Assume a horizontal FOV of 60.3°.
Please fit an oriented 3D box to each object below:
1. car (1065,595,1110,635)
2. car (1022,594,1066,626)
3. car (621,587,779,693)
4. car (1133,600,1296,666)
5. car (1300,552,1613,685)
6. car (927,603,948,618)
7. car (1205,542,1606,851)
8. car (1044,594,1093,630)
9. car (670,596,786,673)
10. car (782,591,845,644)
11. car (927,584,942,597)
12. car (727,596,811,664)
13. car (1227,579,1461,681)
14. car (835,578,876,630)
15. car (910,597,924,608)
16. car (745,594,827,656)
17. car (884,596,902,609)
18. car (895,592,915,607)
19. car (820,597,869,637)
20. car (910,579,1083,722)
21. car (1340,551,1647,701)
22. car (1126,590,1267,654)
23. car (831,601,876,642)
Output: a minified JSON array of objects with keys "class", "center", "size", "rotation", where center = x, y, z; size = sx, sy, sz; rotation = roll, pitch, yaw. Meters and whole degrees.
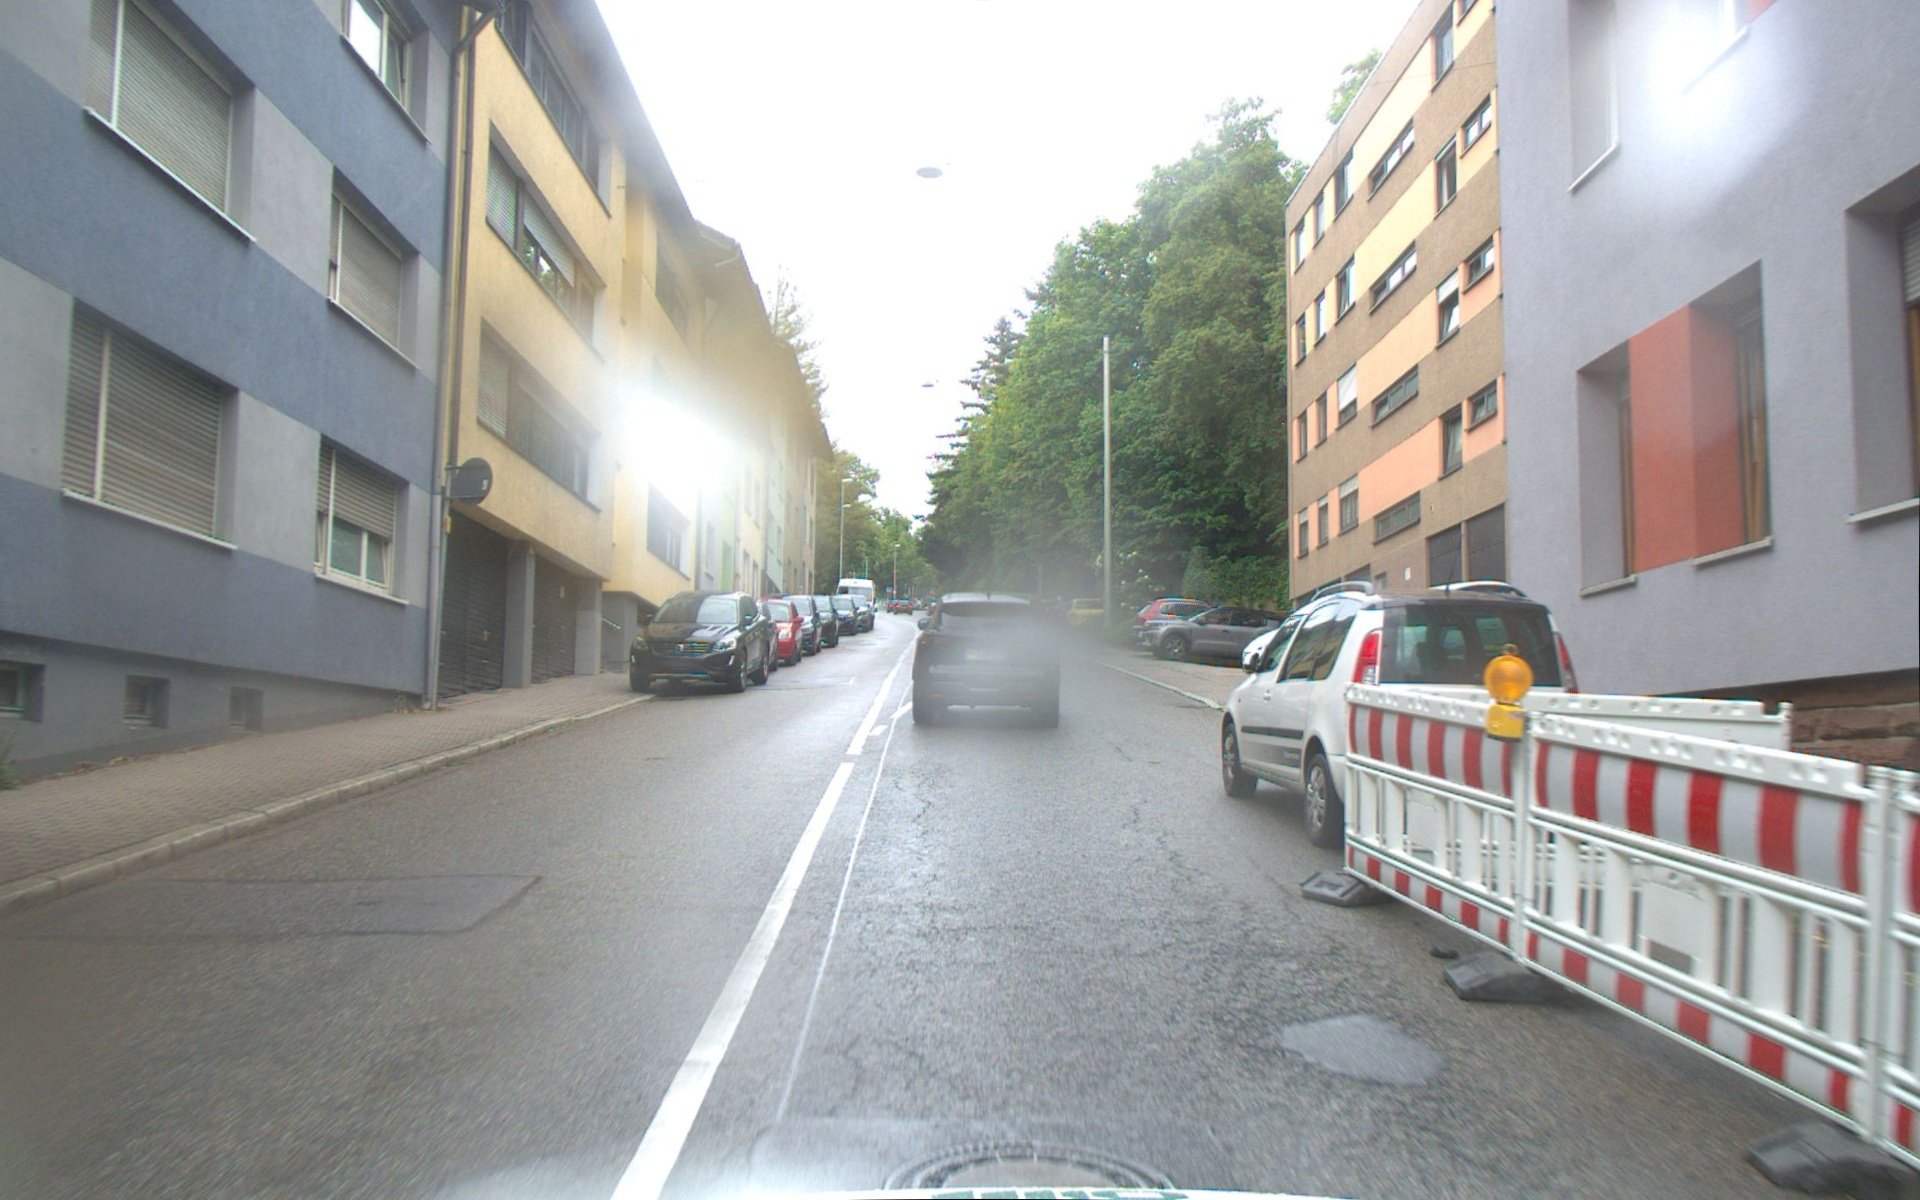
[{"class":"car","center":[5.260,0.612,68.748],"size":[1.599,1.557,4.001],"rotation":[2,0,1]},{"class":"car","center":[4.352,0.521,86.063],"size":[1.775,1.557,4.414],"rotation":[-1,0,-4]},{"class":"car","center":[-4.410,0.625,28.737],"size":[1.952,1.679,4.442],"rotation":[1,0,1]},{"class":"car","center":[6.961,0.894,45.470],"size":[4.115,1.522,1.759],"rotation":[3,0,-4]},{"class":"car","center":[7.762,0.277,26.126],"size":[4.256,1.556,1.876],"rotation":[-6,0,-3]},{"class":"car","center":[-2.431,1.099,176.832],"size":[2.034,1.587,3.996],"rotation":[1,0,-4]},{"class":"car","center":[2.975,0.556,11.916],"size":[1.607,1.793,3.998],"rotation":[2,1,-2]},{"class":"car","center":[4.936,0.526,75.706],"size":[1.774,1.557,4.415],"rotation":[-1,0,-2]},{"class":"car","center":[-4.774,0.671,34.613],"size":[1.953,1.498,4.346],"rotation":[1,0,-2]},{"class":"car","center":[-4.657,0.522,53.048],"size":[1.816,1.613,4.303],"rotation":[0,0,-2]},{"class":"car","center":[-3.480,-1.301,228.552],"size":[1.952,1.587,4.000],"rotation":[0,-2,1]},{"class":"car","center":[-4.475,0.674,39.053],"size":[1.693,1.498,3.489],"rotation":[0,0,-2]},{"class":"car","center":[7.186,0.546,31.168],"size":[3.885,1.556,1.691],"rotation":[-5,0,-5]},{"class":"car","center":[-5.241,0.202,83.595],"size":[1.950,2.518,5.782],"rotation":[0,0,-2]},{"class":"car","center":[-6.446,0.434,250.154],"size":[1.952,1.587,4.000],"rotation":[0,-2,1]},{"class":"car","center":[-4.768,0.652,45.906],"size":[1.953,1.613,4.469],"rotation":[0,0,-2]},{"class":"car","center":[-8.021,0.300,198.004],"size":[2.033,1.587,3.998],"rotation":[1,0,-2]},{"class":"car","center":[-5.842,-0.067,175.089],"size":[2.033,1.587,3.998],"rotation":[1,0,-3]},{"class":"car","center":[-4.916,0.711,70.799],"size":[1.950,1.613,4.303],"rotation":[0,0,-2]},{"class":"car","center":[0.386,0.570,21.189],"size":[1.953,1.586,3.999],"rotation":[2,1,-1]},{"class":"car","center":[7.655,0.354,23.948],"size":[3.751,1.731,1.727],"rotation":[-5,0,-3]},{"class":"car","center":[7.580,0.694,53.174],"size":[4.116,1.765,1.758],"rotation":[3,0,-5]},{"class":"car","center":[-4.930,0.962,76.819],"size":[1.950,1.786,4.478],"rotation":[0,0,-2]}]
